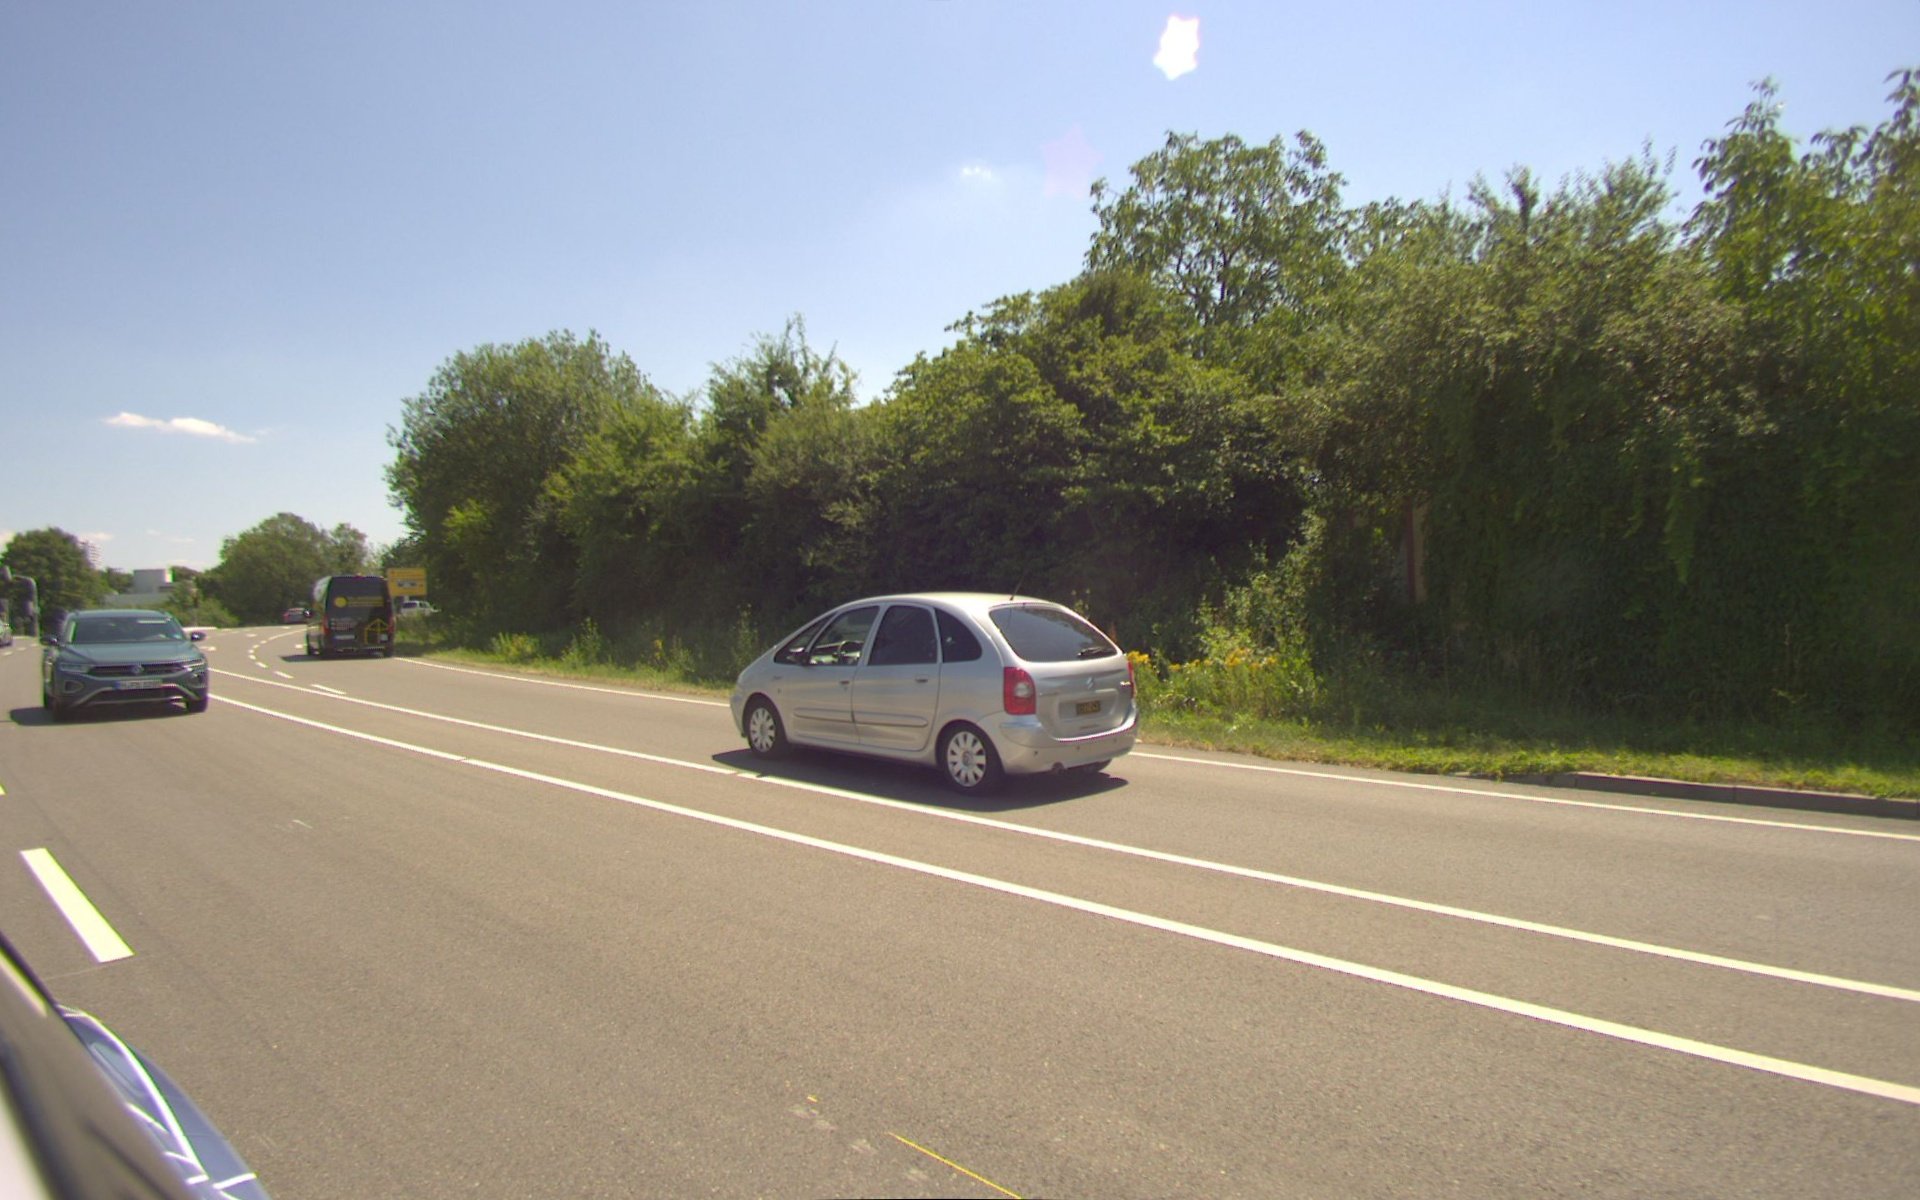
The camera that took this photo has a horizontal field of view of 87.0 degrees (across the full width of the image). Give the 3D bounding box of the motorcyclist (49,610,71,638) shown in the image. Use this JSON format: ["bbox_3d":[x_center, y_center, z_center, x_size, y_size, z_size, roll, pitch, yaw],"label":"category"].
[{"bbox_3d":[-47.717,1.276,53.685,0.848,1.500,1.163,1,-2,-41],"label":"motorcyclist"}]

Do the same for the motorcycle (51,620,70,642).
[{"bbox_3d":[-47.799,1.624,53.795,0.723,1.147,2.075,1,-2,-41],"label":"motorcycle"}]

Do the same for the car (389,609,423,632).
[{"bbox_3d":[-54.942,2.061,100.243,1.949,2.028,4.848,-4,1,-40],"label":"car"}]

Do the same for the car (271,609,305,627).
[{"bbox_3d":[-60.554,1.644,91.165,1.970,1.449,4.227,-4,0,-42],"label":"car"}]

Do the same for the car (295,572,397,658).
[{"bbox_3d":[-20.327,0.445,33.377,2.159,2.560,6.049,-2,1,-38],"label":"car"}]

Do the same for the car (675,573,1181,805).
[{"bbox_3d":[-0.541,0.639,9.404,4.817,1.605,1.817,-1,1,44],"label":"car"}]

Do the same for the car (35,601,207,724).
[{"bbox_3d":[-12.989,0.844,15.606,1.812,1.598,4.396,-1,0,-42],"label":"car"}]

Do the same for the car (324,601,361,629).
[{"bbox_3d":[-49.055,1.167,80.450,2.047,2.029,5.826,-2,0,-27],"label":"car"}]

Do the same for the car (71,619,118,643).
[{"bbox_3d":[-61.912,2.185,72.452,2.084,1.603,4.462,-1,0,-35],"label":"car"}]

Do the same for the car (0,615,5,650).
[{"bbox_3d":[-44.420,1.511,45.495,1.906,1.598,4.185,-4,1,-41],"label":"car"}]
